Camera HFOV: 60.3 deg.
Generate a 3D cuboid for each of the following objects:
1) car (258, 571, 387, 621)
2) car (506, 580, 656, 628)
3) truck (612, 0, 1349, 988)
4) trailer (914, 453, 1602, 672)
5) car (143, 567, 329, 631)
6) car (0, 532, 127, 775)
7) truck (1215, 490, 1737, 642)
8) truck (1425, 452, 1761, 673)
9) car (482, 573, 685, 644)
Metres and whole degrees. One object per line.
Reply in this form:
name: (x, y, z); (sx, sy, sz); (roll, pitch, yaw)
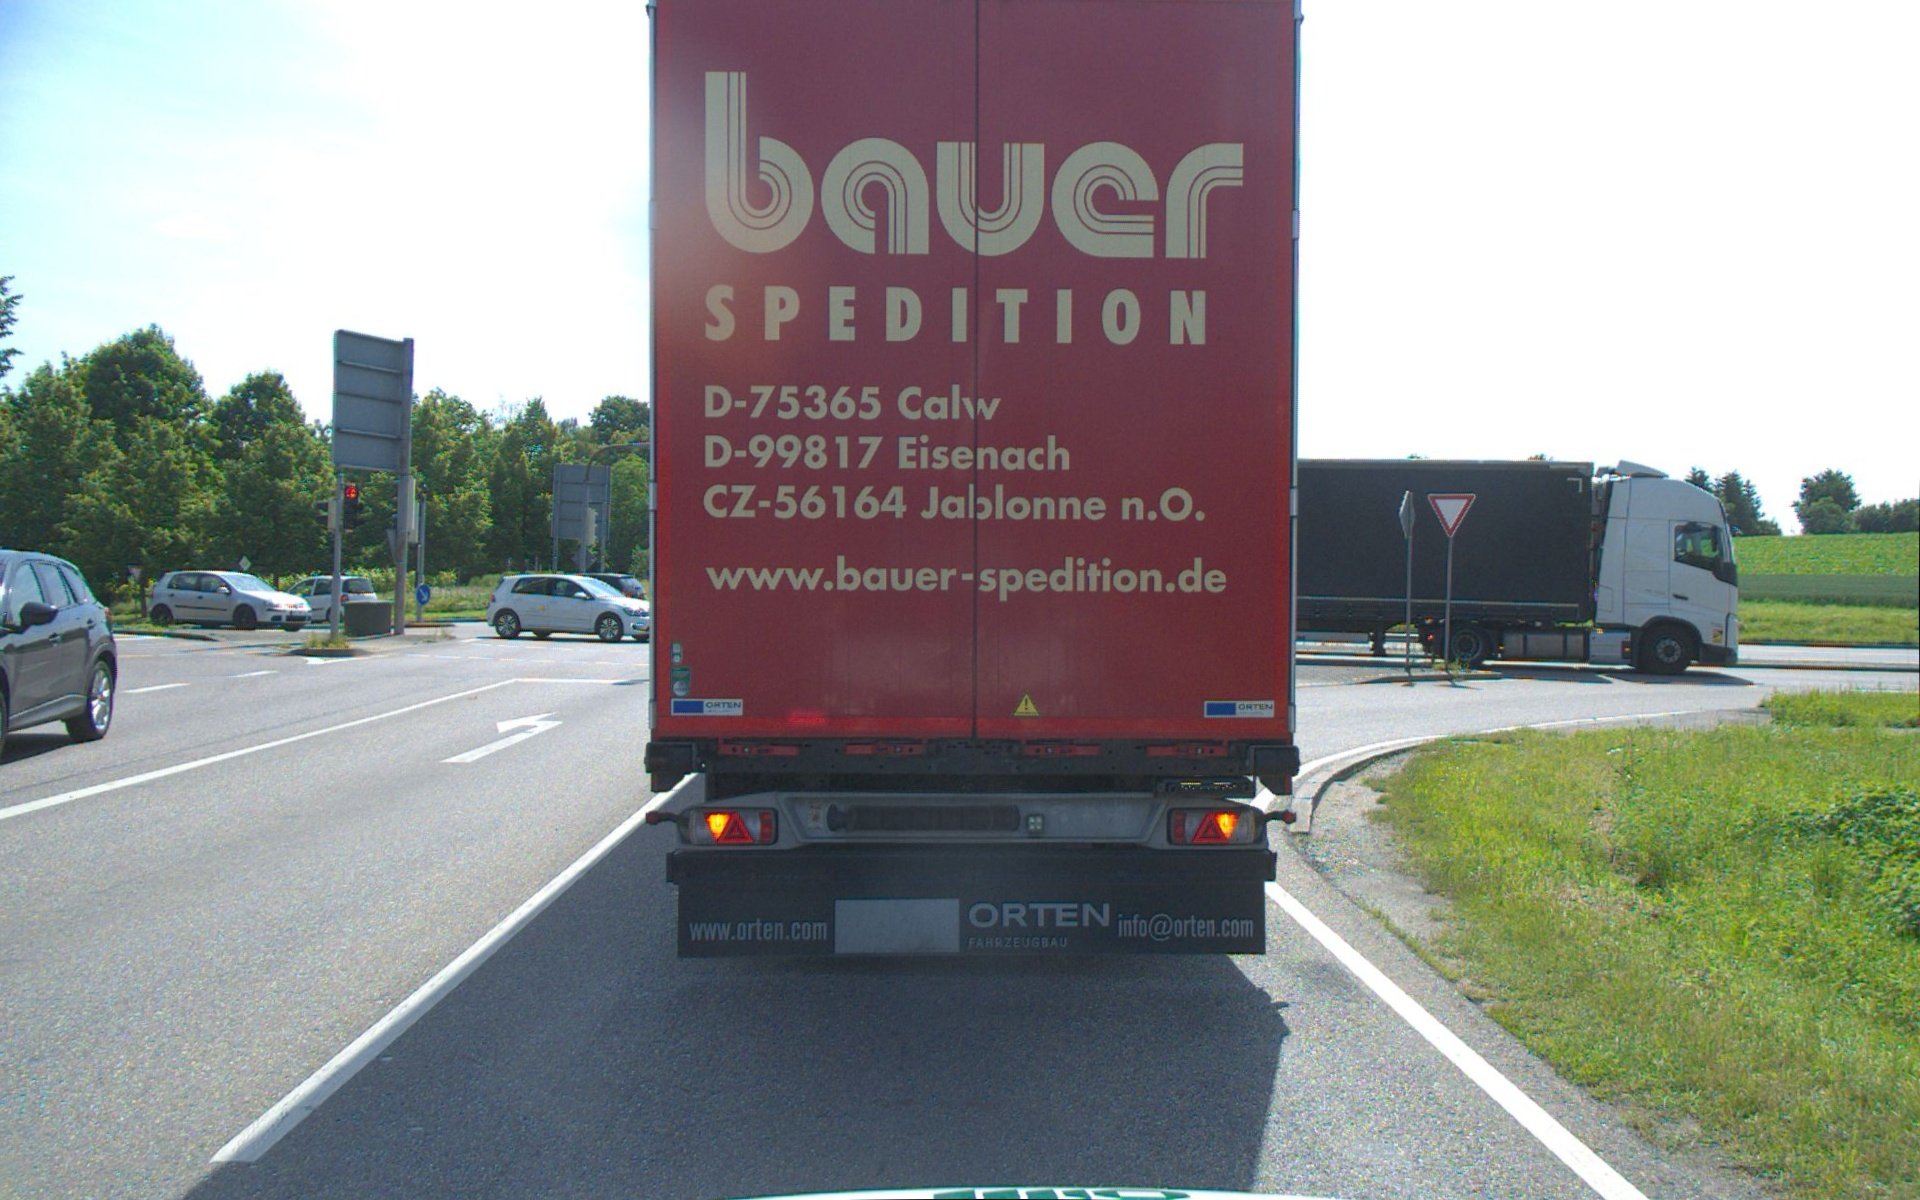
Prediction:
car: (-20.310, -0.150, 52.712); (3.771, 1.380, 1.676); (2, 3, 24)
car: (-11.199, 0.099, 48.832); (4.184, 1.328, 1.740); (1, 0, 27)
truck: (-0.074, -0.666, 14.401); (2.679, 3.993, 16.622); (1, 1, -1)
trailer: (5.914, -0.873, 34.207); (13.392, 4.132, 2.801); (1, 1, 12)
car: (-17.794, -0.051, 40.709); (3.949, 1.441, 1.796); (1, 1, 15)
car: (-8.173, 0.367, 13.083); (1.834, 1.780, 4.098); (1, 1, -12)
truck: (14.678, -1.083, 48.035); (13.986, 4.049, 3.028); (1, 1, 20)
truck: (12.406, -0.772, 32.917); (5.701, 4.132, 2.801); (1, 1, 8)
car: (-8.603, 0.161, 37.848); (4.156, 1.486, 1.811); (1, 1, 15)
